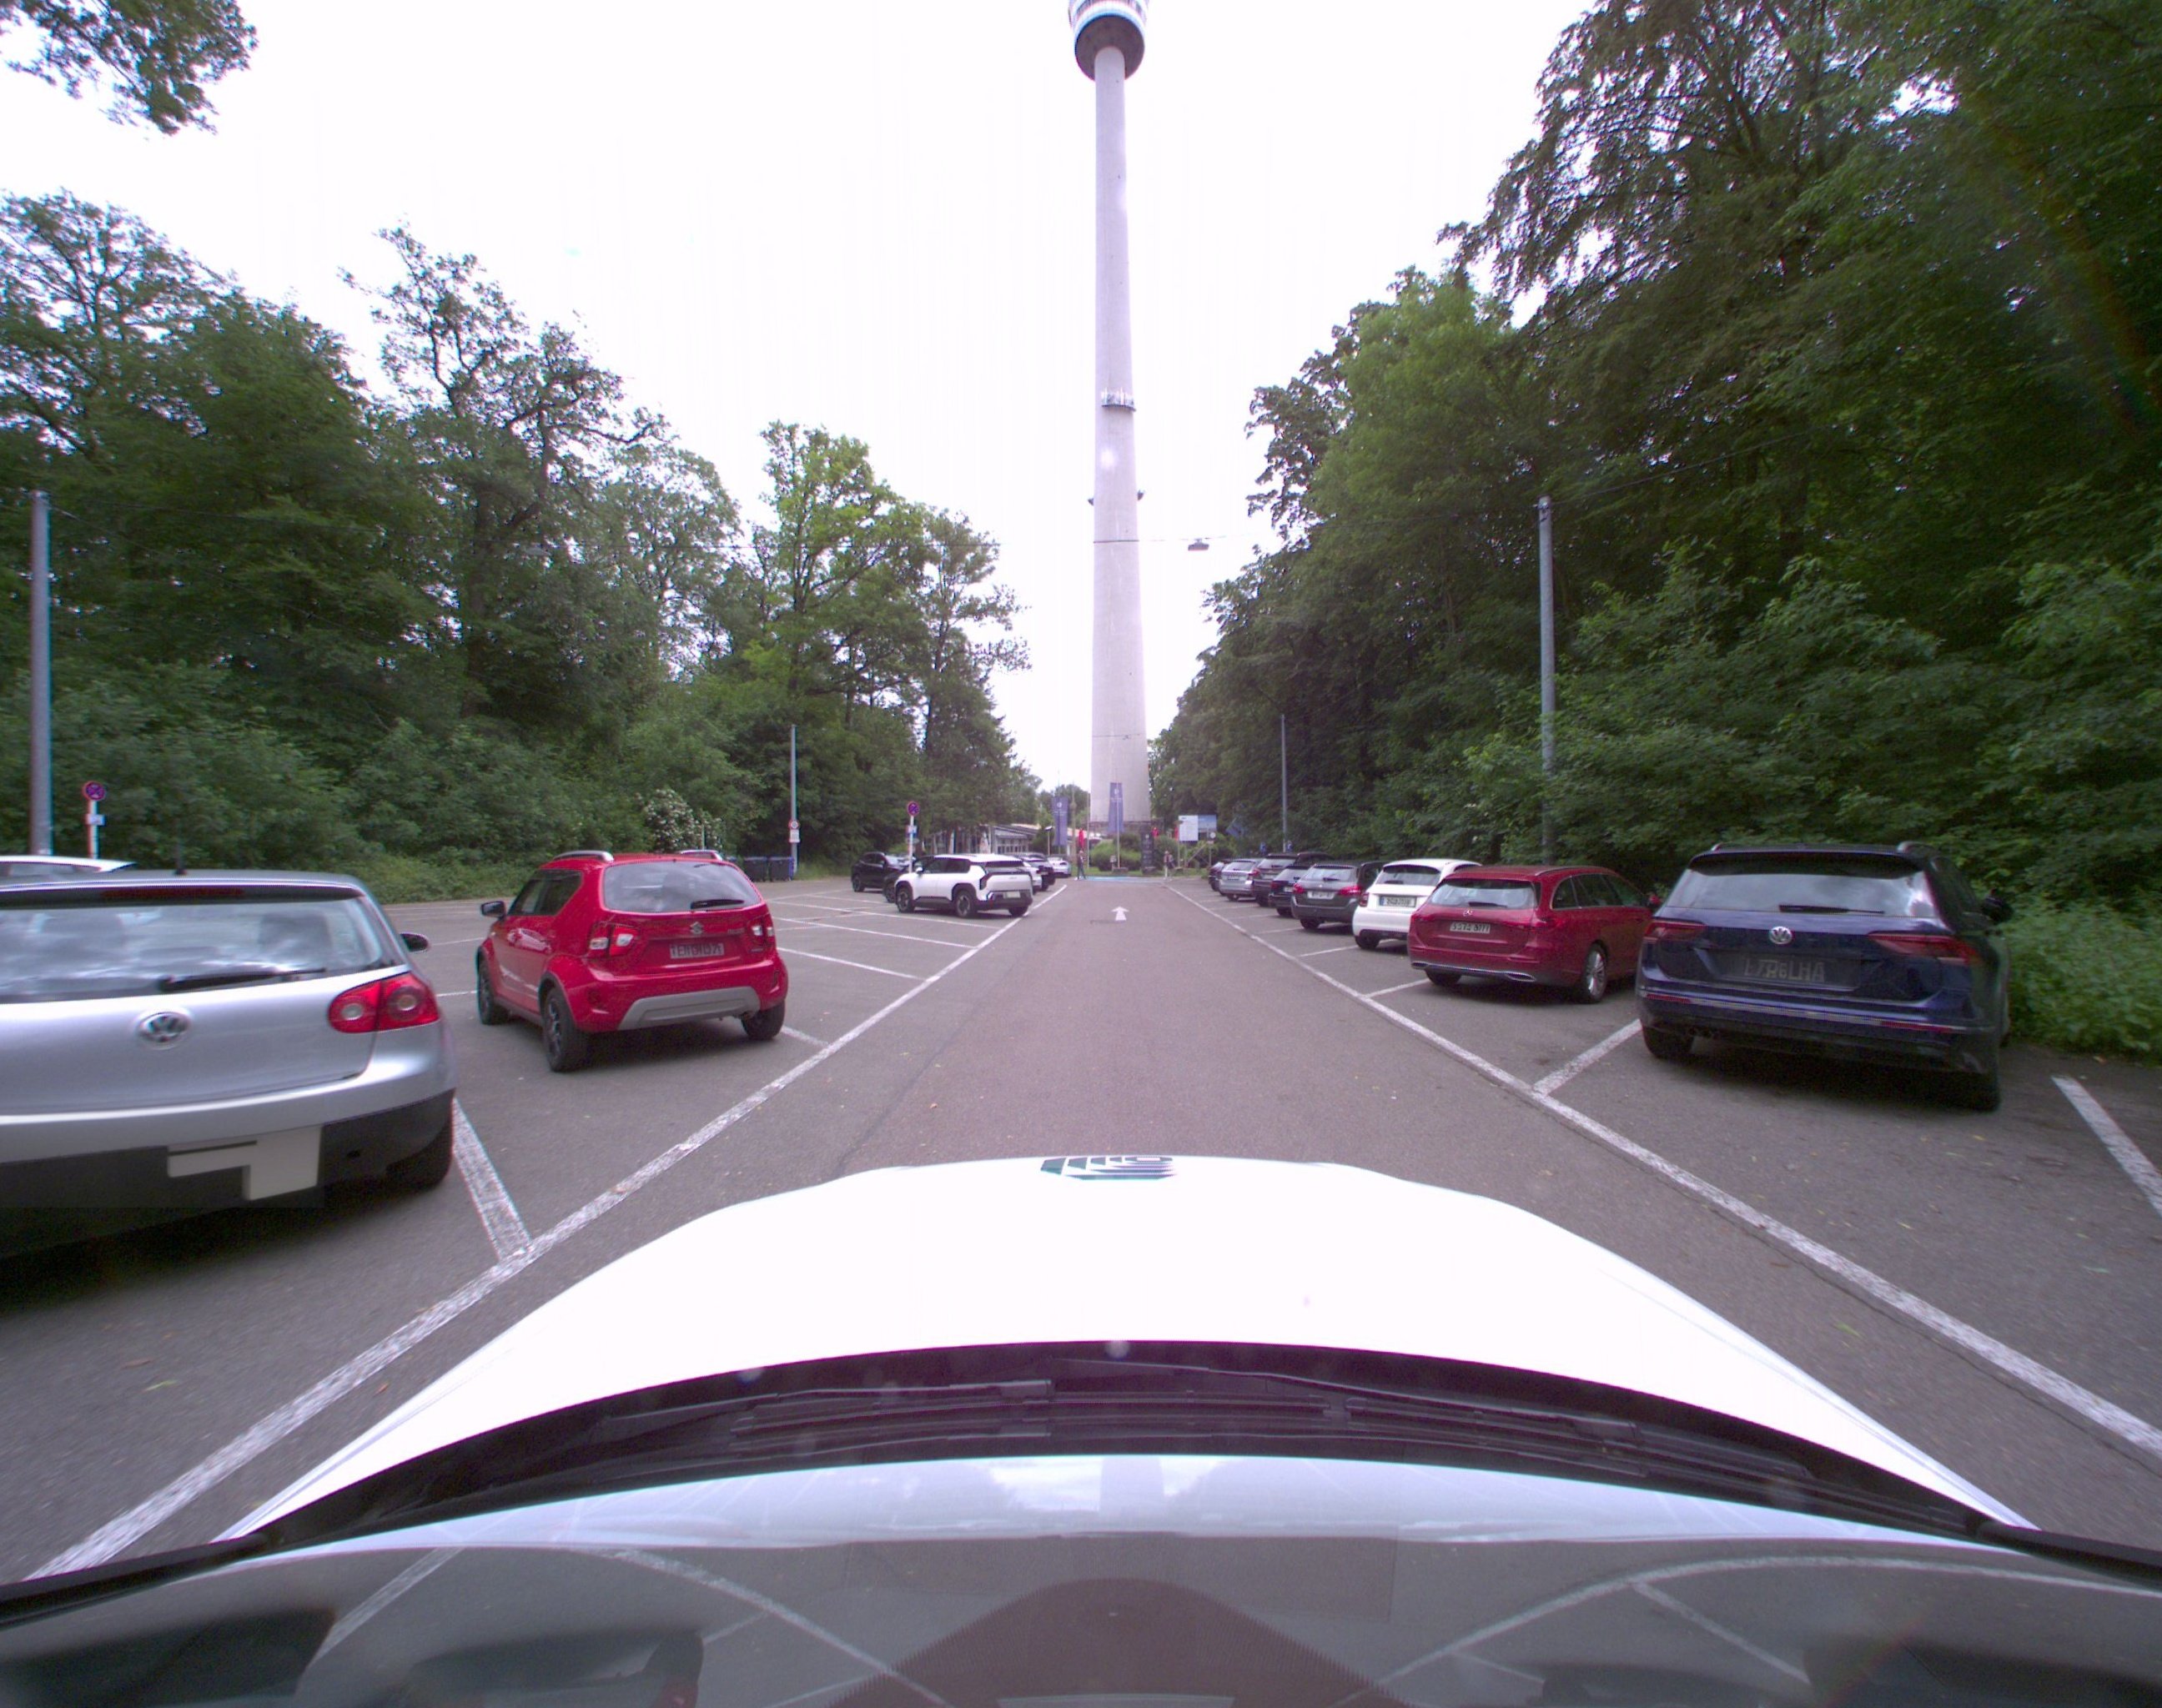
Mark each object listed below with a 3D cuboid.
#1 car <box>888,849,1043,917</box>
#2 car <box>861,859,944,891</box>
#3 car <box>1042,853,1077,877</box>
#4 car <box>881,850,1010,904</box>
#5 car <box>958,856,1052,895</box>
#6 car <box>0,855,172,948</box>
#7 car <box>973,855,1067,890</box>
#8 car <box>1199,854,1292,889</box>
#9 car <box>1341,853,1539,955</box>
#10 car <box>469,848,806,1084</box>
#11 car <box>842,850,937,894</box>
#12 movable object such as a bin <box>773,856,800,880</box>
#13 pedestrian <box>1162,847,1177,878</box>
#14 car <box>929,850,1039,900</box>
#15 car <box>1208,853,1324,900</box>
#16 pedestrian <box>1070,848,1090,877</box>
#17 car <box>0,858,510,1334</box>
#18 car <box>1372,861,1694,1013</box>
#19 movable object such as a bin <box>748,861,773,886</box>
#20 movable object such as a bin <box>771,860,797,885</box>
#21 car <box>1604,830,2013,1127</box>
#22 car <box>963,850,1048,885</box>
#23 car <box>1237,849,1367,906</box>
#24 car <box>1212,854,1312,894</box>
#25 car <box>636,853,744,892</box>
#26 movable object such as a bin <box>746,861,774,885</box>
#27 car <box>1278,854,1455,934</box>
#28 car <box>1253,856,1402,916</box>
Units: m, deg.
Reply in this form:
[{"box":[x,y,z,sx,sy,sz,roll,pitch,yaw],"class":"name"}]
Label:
[{"box":[-3.083,0.684,21.167,4.138,1.596,1.857,0,0,45],"class":"car"},{"box":[-8.198,0.925,37.226,1.779,1.394,4.338,0,0,-43],"class":"car"},{"box":[-1.325,0.679,52.531,1.885,1.428,4.004,0,0,4],"class":"car"},{"box":[-4.307,0.668,25.616,3.949,1.554,1.885,0,0,40],"class":"car"},{"box":[-3.077,0.800,32.498,1.782,1.443,3.799,0,0,-42],"class":"car"},{"box":[-18.497,0.785,13.748,4.022,1.510,1.847,-1,0,-42],"class":"car"},{"box":[-2.704,0.770,35.543,1.770,1.443,4.226,0,0,-45],"class":"car"},{"box":[7.272,0.719,35.773,4.227,1.462,1.876,0,0,-42],"class":"car"},{"box":[6.225,0.749,13.981,3.601,1.505,1.714,-1,0,-41],"class":"car"},{"box":[-4.147,0.765,7.364,3.609,1.585,1.697,-1,0,44],"class":"car"},{"box":[-7.718,0.687,32.610,1.910,1.663,3.950,0,0,-45],"class":"car"},{"box":[-16.662,0.805,46.074,1.253,1.325,1.142,-1,0,-10],"class":"movable object such as a bin"},{"box":[5.080,0.492,46.565,0.757,1.725,0.900,0,0,12],"class":"pedestrian"},{"box":[-3.437,0.685,28.462,1.858,1.587,3.929,-1,1,-43],"class":"car"},{"box":[6.480,0.728,28.384,4.019,1.467,1.814,-1,0,-39],"class":"car"},{"box":[-0.068,0.507,48.073,0.886,1.725,0.769,0,0,26],"class":"pedestrian"},{"box":[-4.519,0.773,4.214,3.950,1.483,1.888,-1,-1,45],"class":"car"},{"box":[5.589,0.805,9.855,4.317,1.414,1.906,0,0,-39],"class":"car"},{"box":[-17.130,1.026,43.456,1.129,1.315,1.174,0,0,-27],"class":"movable object such as a bin"},{"box":[-16.060,1.008,44.000,1.175,1.307,1.301,0,0,-27],"class":"movable object such as a bin"},{"box":[5.929,0.678,6.464,4.140,1.618,1.821,0,0,-40],"class":"car"},{"box":[-3.755,0.625,39.780,1.840,1.609,4.334,0,0,-44],"class":"car"},{"box":[6.956,0.669,25.435,4.286,1.636,1.942,0,0,-43],"class":"car"},{"box":[7.116,0.727,31.785,4.022,1.422,1.887,0,0,-43],"class":"car"},{"box":[-17.810,0.808,37.180,4.093,1.685,1.858,0,0,-42],"class":"car"},{"box":[-17.844,1.037,45.291,1.120,1.320,1.239,-1,0,-2],"class":"movable object such as a bin"},{"box":[6.161,0.760,17.349,4.210,1.457,1.783,-1,0,-43],"class":"car"},{"box":[6.561,0.774,21.402,4.287,1.377,1.941,0,0,-45],"class":"car"}]
